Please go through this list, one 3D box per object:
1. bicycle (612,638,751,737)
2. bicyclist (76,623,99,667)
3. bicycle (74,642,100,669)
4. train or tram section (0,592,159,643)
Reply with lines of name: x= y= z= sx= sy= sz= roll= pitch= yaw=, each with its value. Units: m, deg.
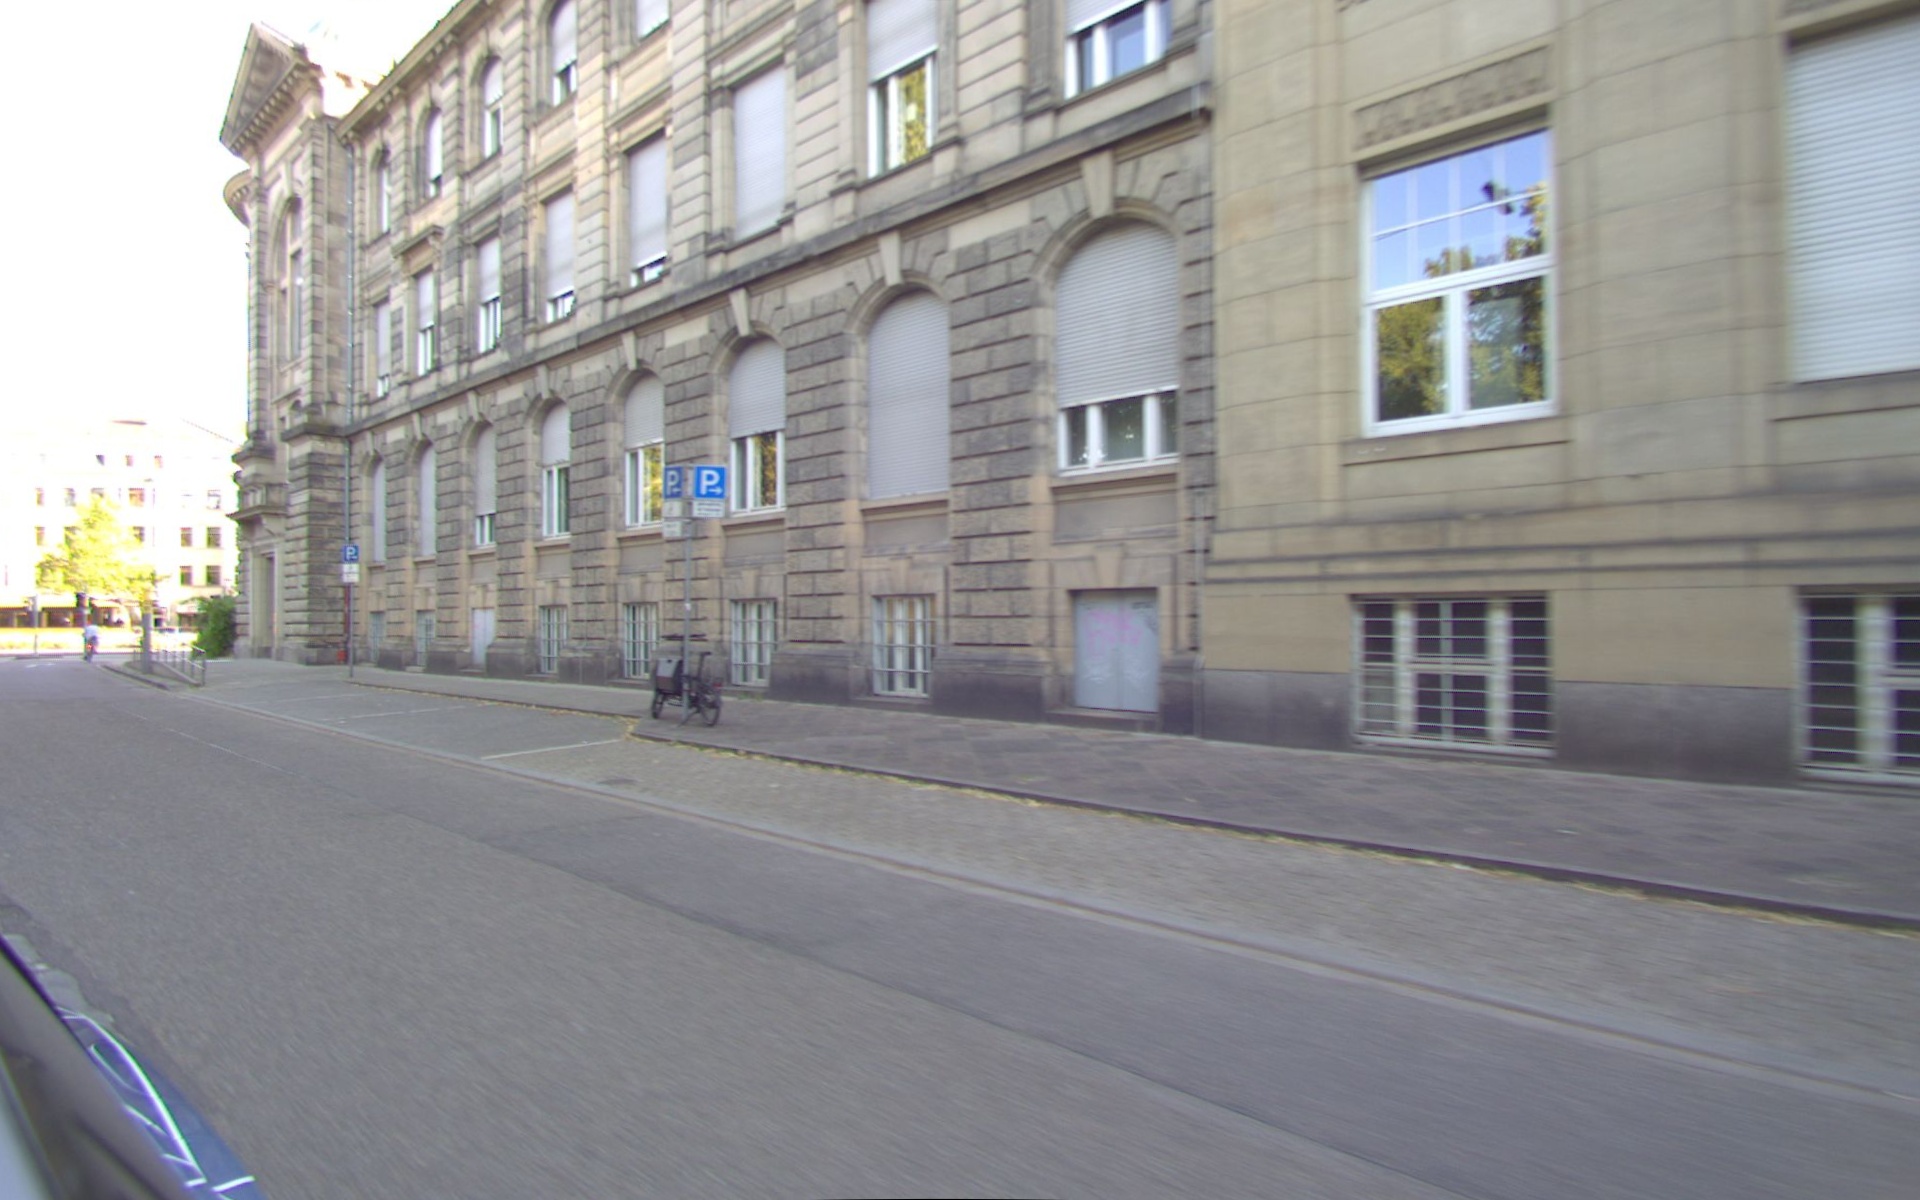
bicycle: x=-3.588 y=1.067 z=12.928 sx=0.842 sy=1.110 sz=1.983 roll=-2 pitch=0 yaw=-44
bicyclist: x=-36.782 y=1.879 z=42.685 sx=0.636 sy=1.821 sz=0.782 roll=1 pitch=-2 yaw=-37
bicycle: x=-36.759 y=2.331 z=42.647 sx=0.654 sy=1.078 sz=2.158 roll=1 pitch=-2 yaw=-37
train or tram section: x=-68.823 y=1.276 z=71.684 sx=19.604 sy=3.586 sz=3.129 roll=0 pitch=-2 yaw=-11
